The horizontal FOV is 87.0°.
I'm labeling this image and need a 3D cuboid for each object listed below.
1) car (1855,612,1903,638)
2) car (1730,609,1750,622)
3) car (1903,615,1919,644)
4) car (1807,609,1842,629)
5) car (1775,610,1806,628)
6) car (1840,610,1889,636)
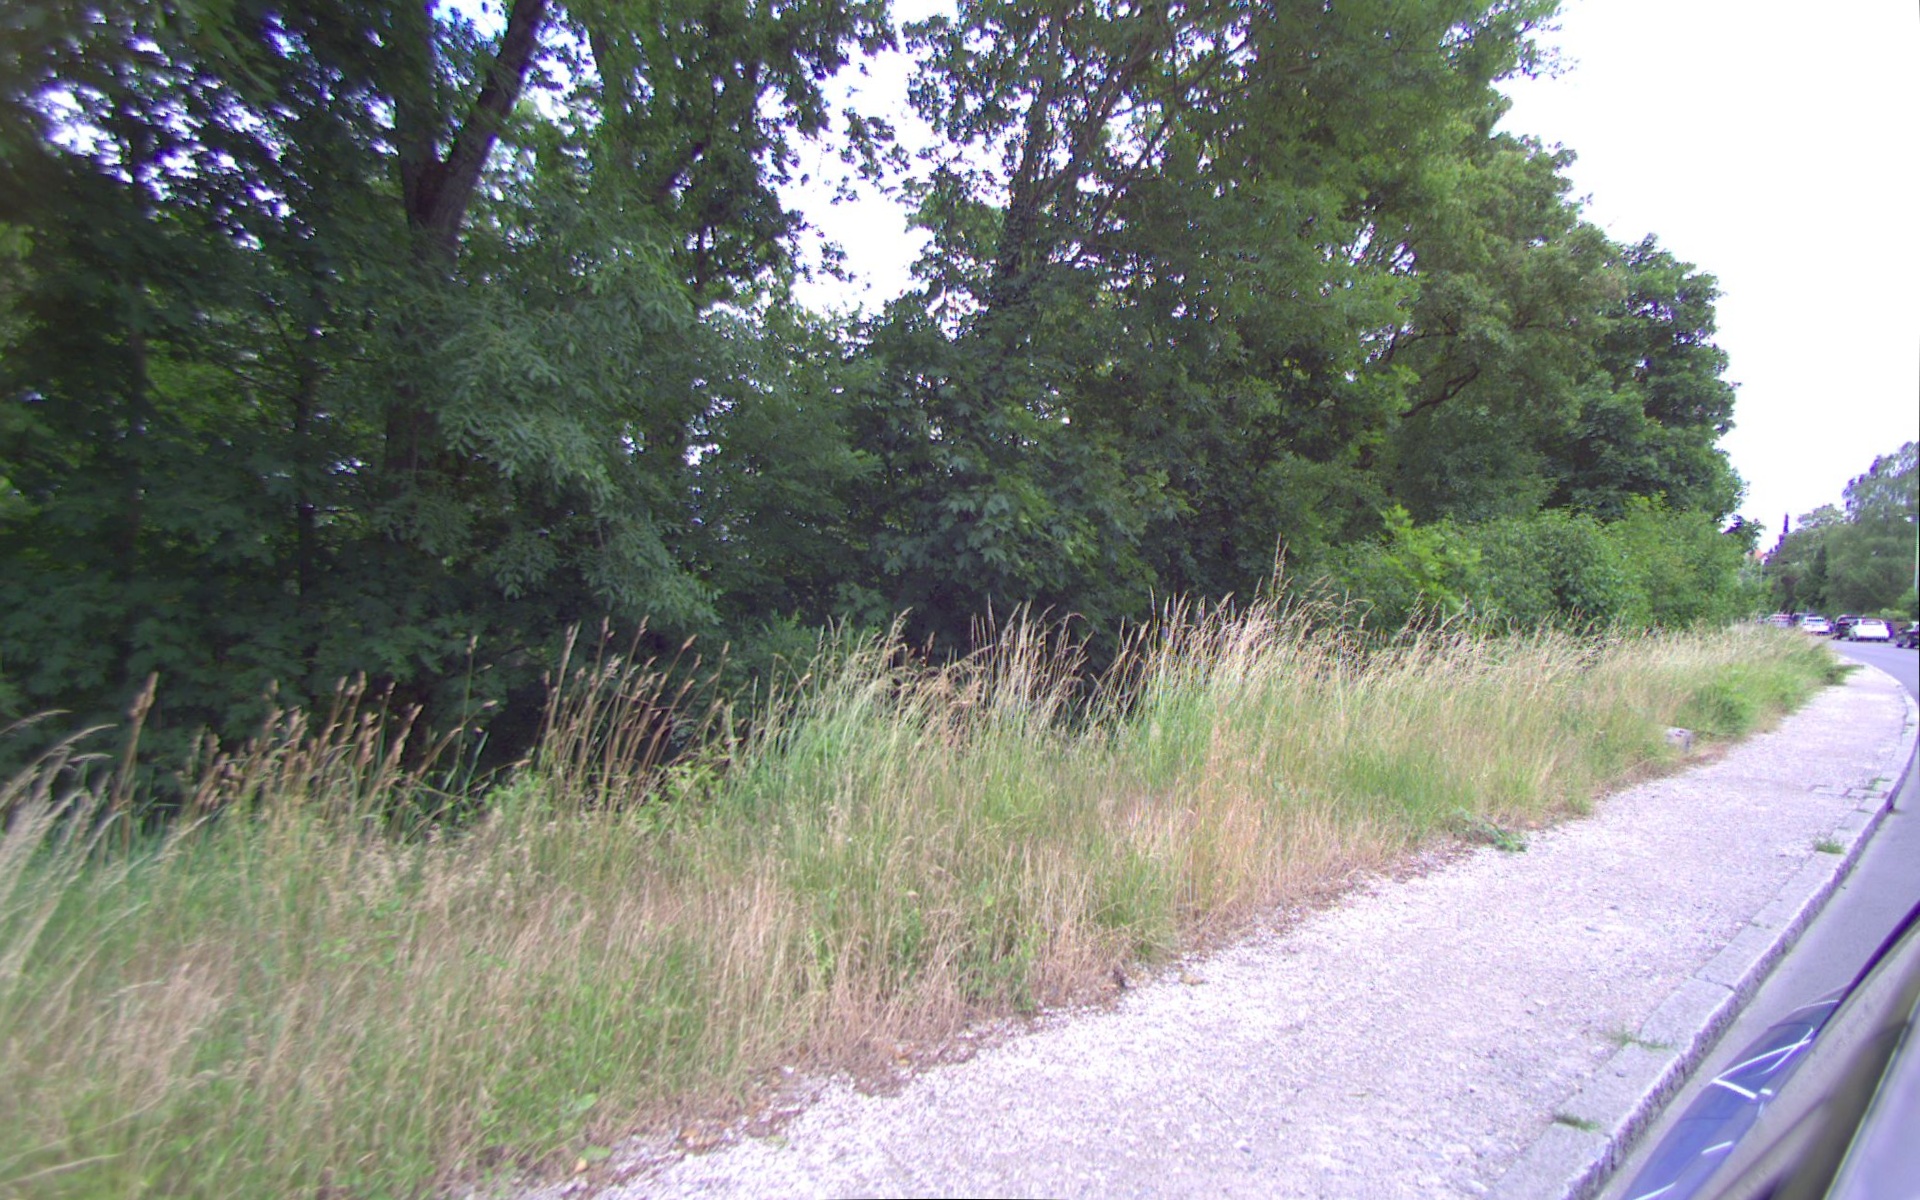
[{"bbox_3d":[58.976,1.575,65.000,1.700,1.530,3.899,1,0,33],"label":"car"},{"bbox_3d":[107.849,2.096,139.867,1.911,1.701,4.143,1,0,34],"label":"car"},{"bbox_3d":[50.906,1.553,52.856,1.700,1.434,4.100,1,0,33],"label":"car"},{"bbox_3d":[69.799,1.539,81.738,1.701,1.530,4.496,1,0,35],"label":"car"},{"bbox_3d":[79.835,1.775,97.298,1.789,1.627,4.674,1,0,33],"label":"car"},{"bbox_3d":[61.387,1.546,68.746,1.785,1.685,4.339,1,0,33],"label":"car"}]
